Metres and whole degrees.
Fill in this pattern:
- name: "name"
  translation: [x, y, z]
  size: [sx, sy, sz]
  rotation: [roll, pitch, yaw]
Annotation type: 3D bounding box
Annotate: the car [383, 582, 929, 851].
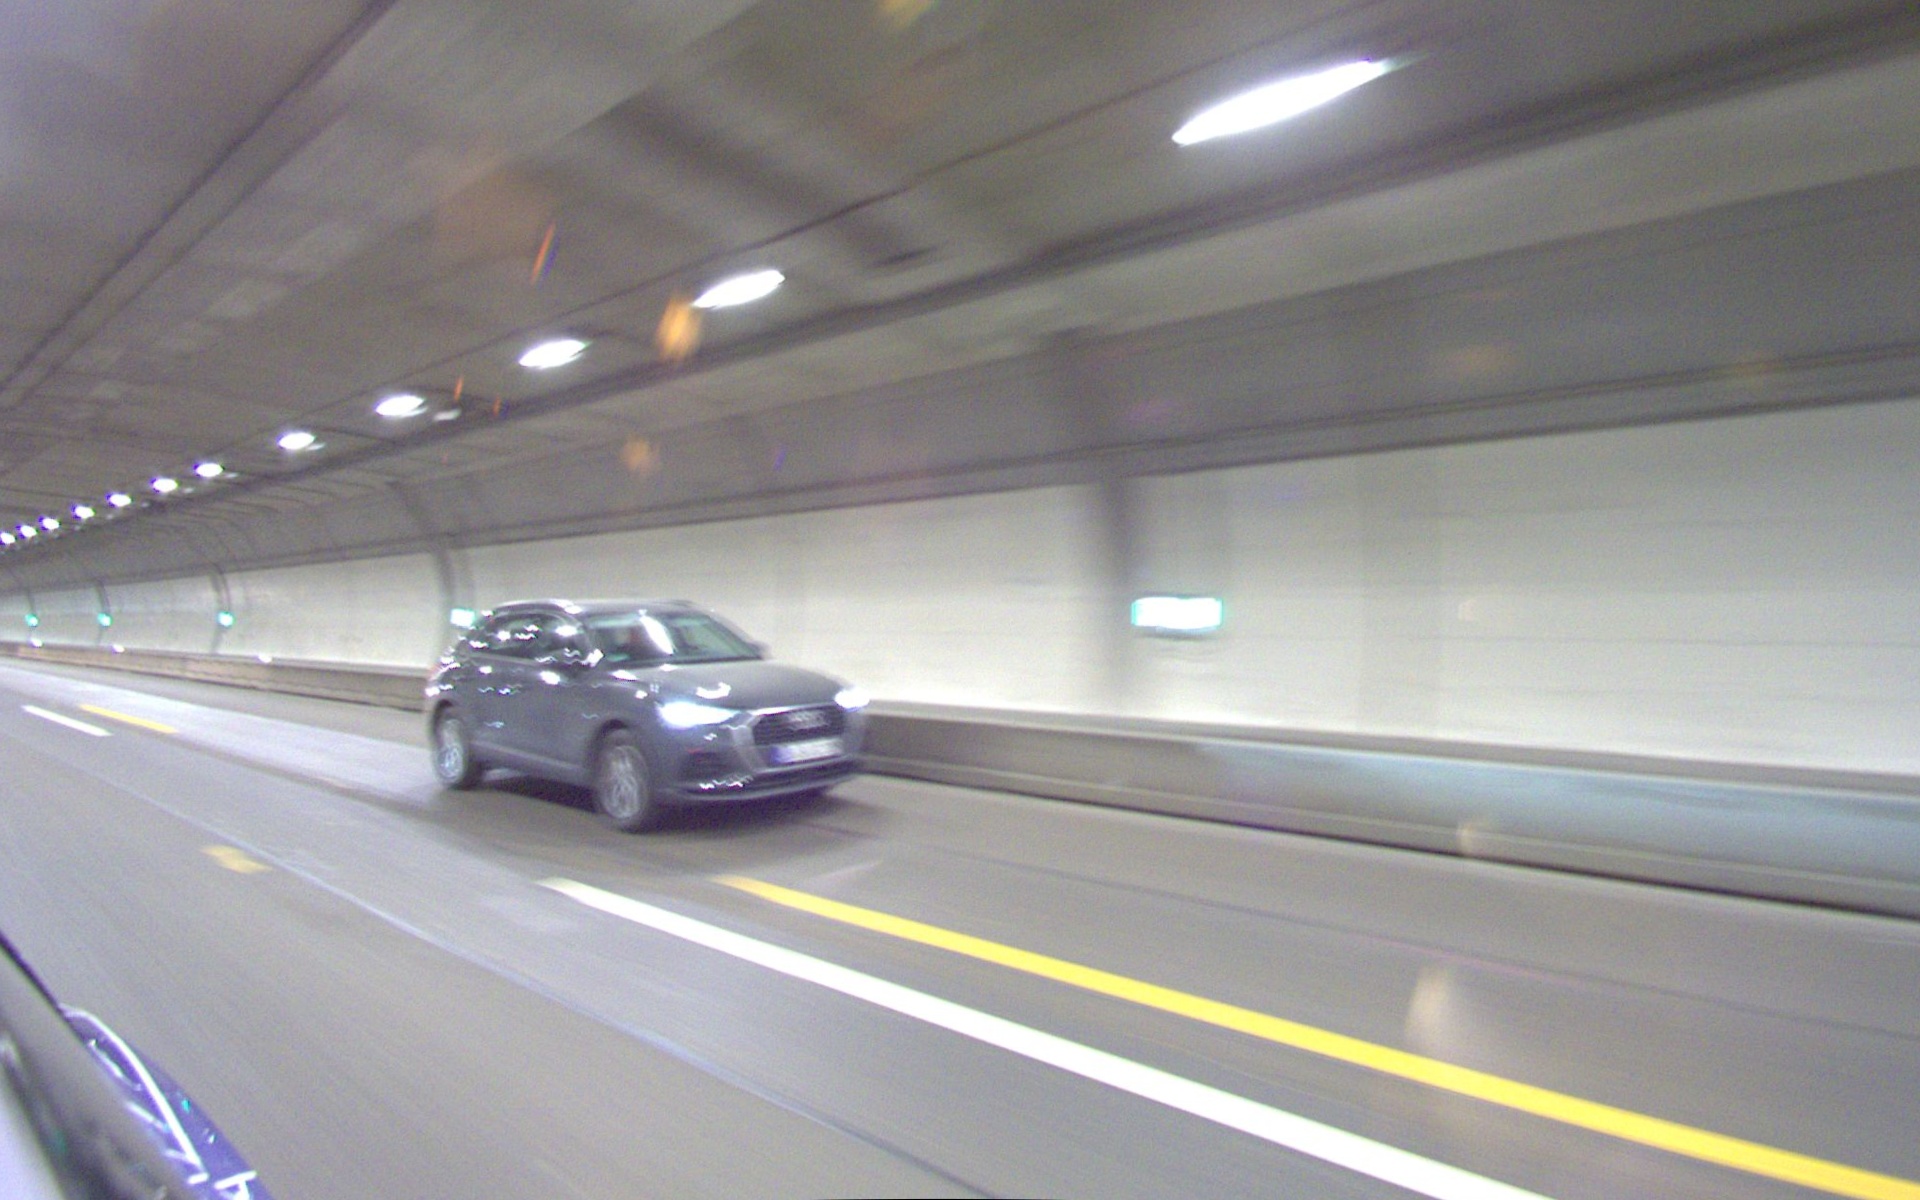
- name: "car"
  translation: [-2.653, 0.713, 8.152]
  size: [4.739, 1.552, 1.973]
  rotation: [-1, -1, 40]
